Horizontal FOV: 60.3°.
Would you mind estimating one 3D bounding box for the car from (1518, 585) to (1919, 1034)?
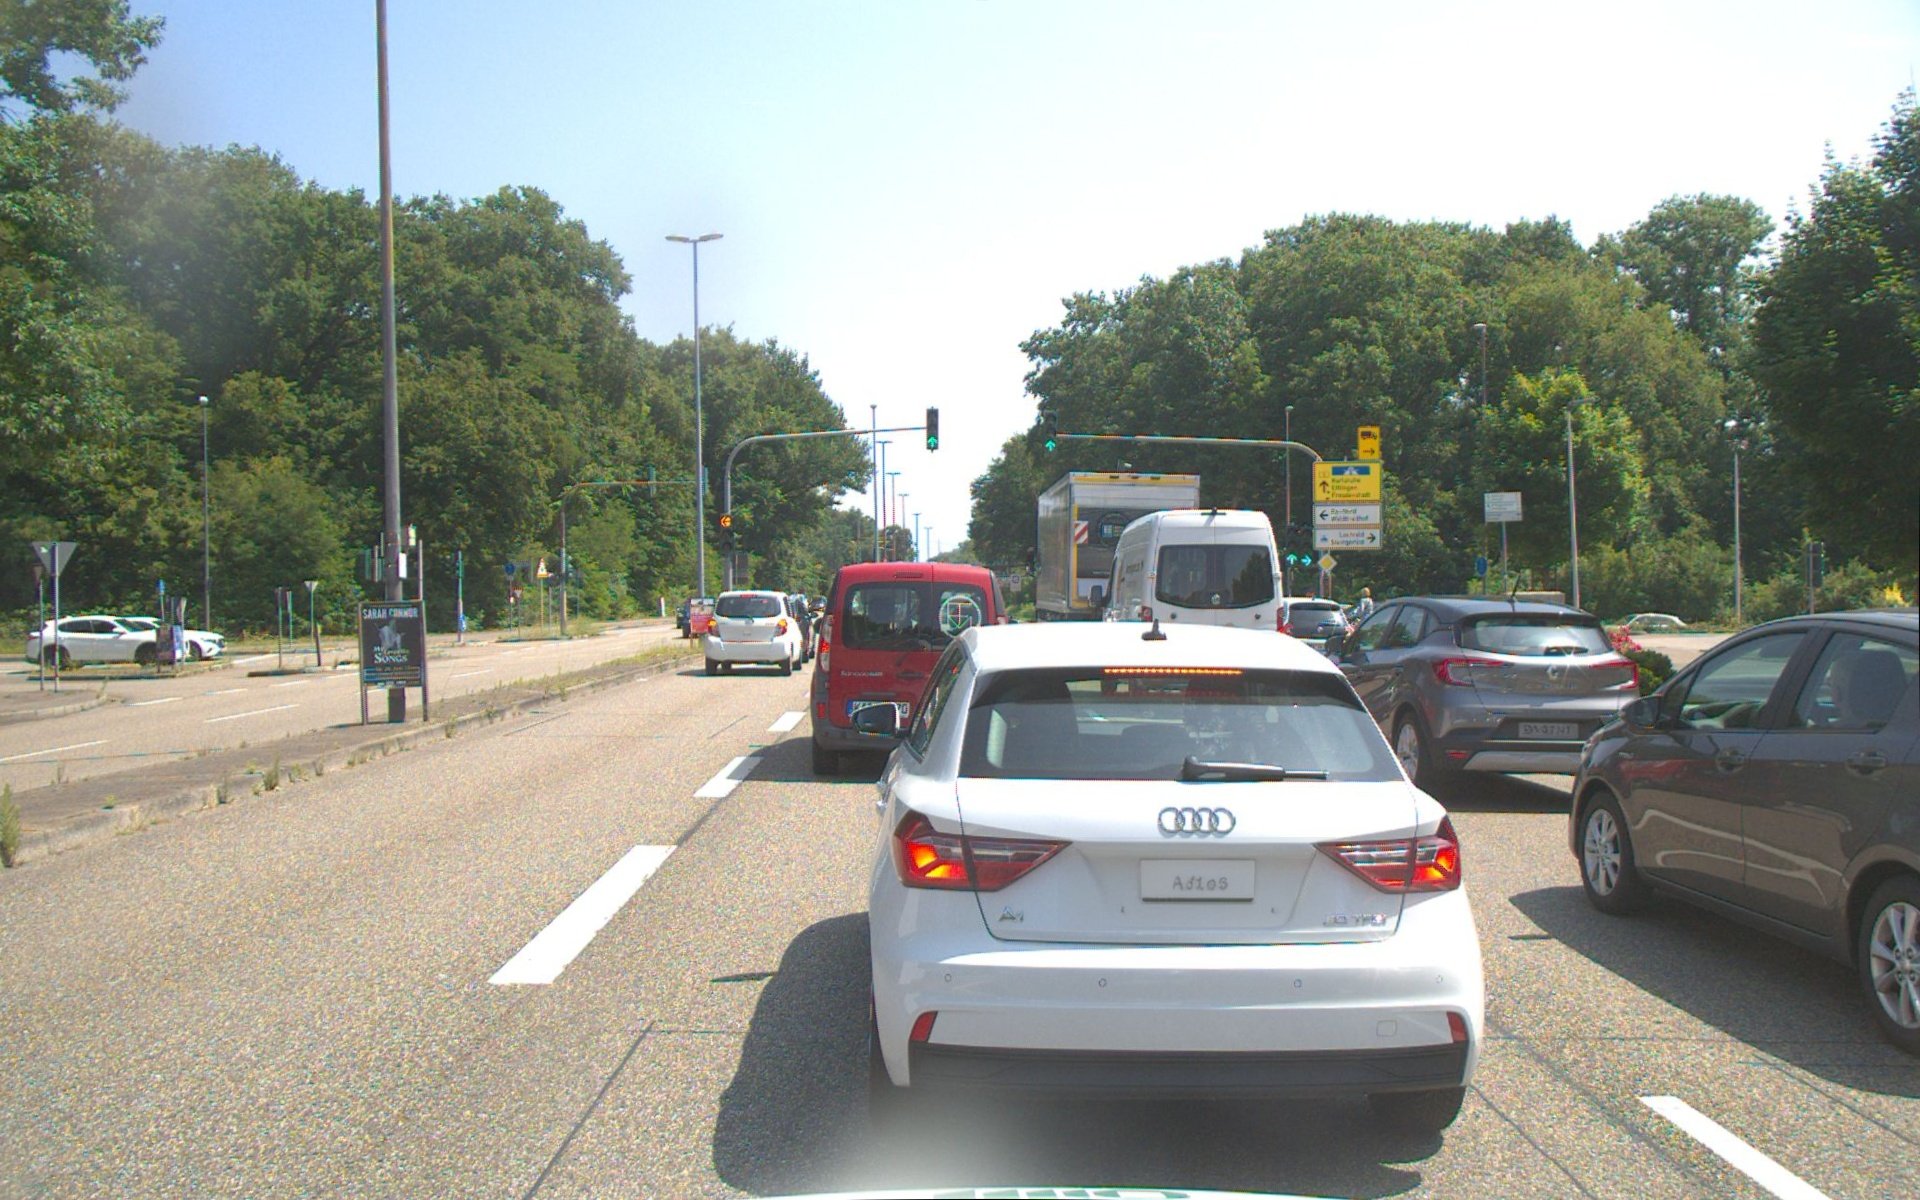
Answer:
[{"bbox_3d":[4.013,0.736,7.056,1.678,1.504,4.089,3,0,-3],"label":"car"}]

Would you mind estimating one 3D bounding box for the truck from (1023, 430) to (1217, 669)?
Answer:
[{"bbox_3d":[3.268,-0.989,37.275,3.026,4.511,11.577,1,0,-1],"label":"truck"}]

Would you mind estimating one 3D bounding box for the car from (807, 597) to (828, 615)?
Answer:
[{"bbox_3d":[-13.971,0.589,162.478,1.793,1.758,3.999,-1,0,-2],"label":"car"}]

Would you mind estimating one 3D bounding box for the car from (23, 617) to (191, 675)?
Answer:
[{"bbox_3d":[-26.744,1.444,51.991,4.290,1.711,1.807,1,-1,-9],"label":"car"}]

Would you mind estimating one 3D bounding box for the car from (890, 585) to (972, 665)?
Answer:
[{"bbox_3d":[-0.688,0.507,36.133,1.677,1.660,4.089,0,0,-3],"label":"car"}]

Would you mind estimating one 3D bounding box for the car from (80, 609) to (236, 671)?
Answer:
[{"bbox_3d":[-27.006,1.331,55.806,4.291,1.710,1.807,-4,0,-9],"label":"car"}]

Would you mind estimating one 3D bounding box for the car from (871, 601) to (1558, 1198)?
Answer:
[{"bbox_3d":[0.536,0.723,6.052,1.677,1.410,4.089,0,0,-3],"label":"car"}]

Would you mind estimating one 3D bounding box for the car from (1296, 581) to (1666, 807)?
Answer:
[{"bbox_3d":[4.164,0.668,13.922,1.677,1.621,4.089,0,0,-3],"label":"car"}]

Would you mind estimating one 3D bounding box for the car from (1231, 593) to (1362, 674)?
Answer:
[{"bbox_3d":[6.834,0.638,33.972,1.677,1.573,4.089,0,0,-3],"label":"car"}]

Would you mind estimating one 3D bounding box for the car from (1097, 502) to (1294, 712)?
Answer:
[{"bbox_3d":[3.231,0.078,23.668,1.990,2.690,4.843,0,0,-2],"label":"car"}]

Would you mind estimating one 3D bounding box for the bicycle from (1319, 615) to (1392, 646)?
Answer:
[{"bbox_3d":[10.179,0.779,42.615,1.796,0.779,0.596,-1,0,45],"label":"bicycle"}]

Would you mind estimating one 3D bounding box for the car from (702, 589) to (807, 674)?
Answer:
[{"bbox_3d":[-3.887,0.557,31.769,1.677,1.519,4.089,0,0,-3],"label":"car"}]

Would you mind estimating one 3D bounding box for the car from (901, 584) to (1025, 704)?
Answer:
[{"bbox_3d":[-0.035,0.605,24.911,1.677,1.660,4.089,0,0,-3],"label":"car"}]

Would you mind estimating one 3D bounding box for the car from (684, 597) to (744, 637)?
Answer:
[{"bbox_3d":[-9.640,0.639,65.000,1.769,1.359,3.999,-4,0,-2],"label":"car"}]

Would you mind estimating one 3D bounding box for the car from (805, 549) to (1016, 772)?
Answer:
[{"bbox_3d":[-0.484,0.478,15.294,1.677,1.779,4.089,0,0,-3],"label":"car"}]

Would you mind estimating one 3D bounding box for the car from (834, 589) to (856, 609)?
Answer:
[{"bbox_3d":[-10.710,-0.104,154.432,1.834,1.893,3.999,-1,0,-2],"label":"car"}]

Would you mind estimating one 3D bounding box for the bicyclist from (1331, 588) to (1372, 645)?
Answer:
[{"bbox_3d":[10.110,0.427,42.689,0.815,1.464,0.595,-1,0,44],"label":"bicyclist"}]

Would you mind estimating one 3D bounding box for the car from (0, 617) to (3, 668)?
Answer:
[{"bbox_3d":[-34.470,1.395,54.872,4.294,1.711,1.805,1,-1,-13],"label":"car"}]
